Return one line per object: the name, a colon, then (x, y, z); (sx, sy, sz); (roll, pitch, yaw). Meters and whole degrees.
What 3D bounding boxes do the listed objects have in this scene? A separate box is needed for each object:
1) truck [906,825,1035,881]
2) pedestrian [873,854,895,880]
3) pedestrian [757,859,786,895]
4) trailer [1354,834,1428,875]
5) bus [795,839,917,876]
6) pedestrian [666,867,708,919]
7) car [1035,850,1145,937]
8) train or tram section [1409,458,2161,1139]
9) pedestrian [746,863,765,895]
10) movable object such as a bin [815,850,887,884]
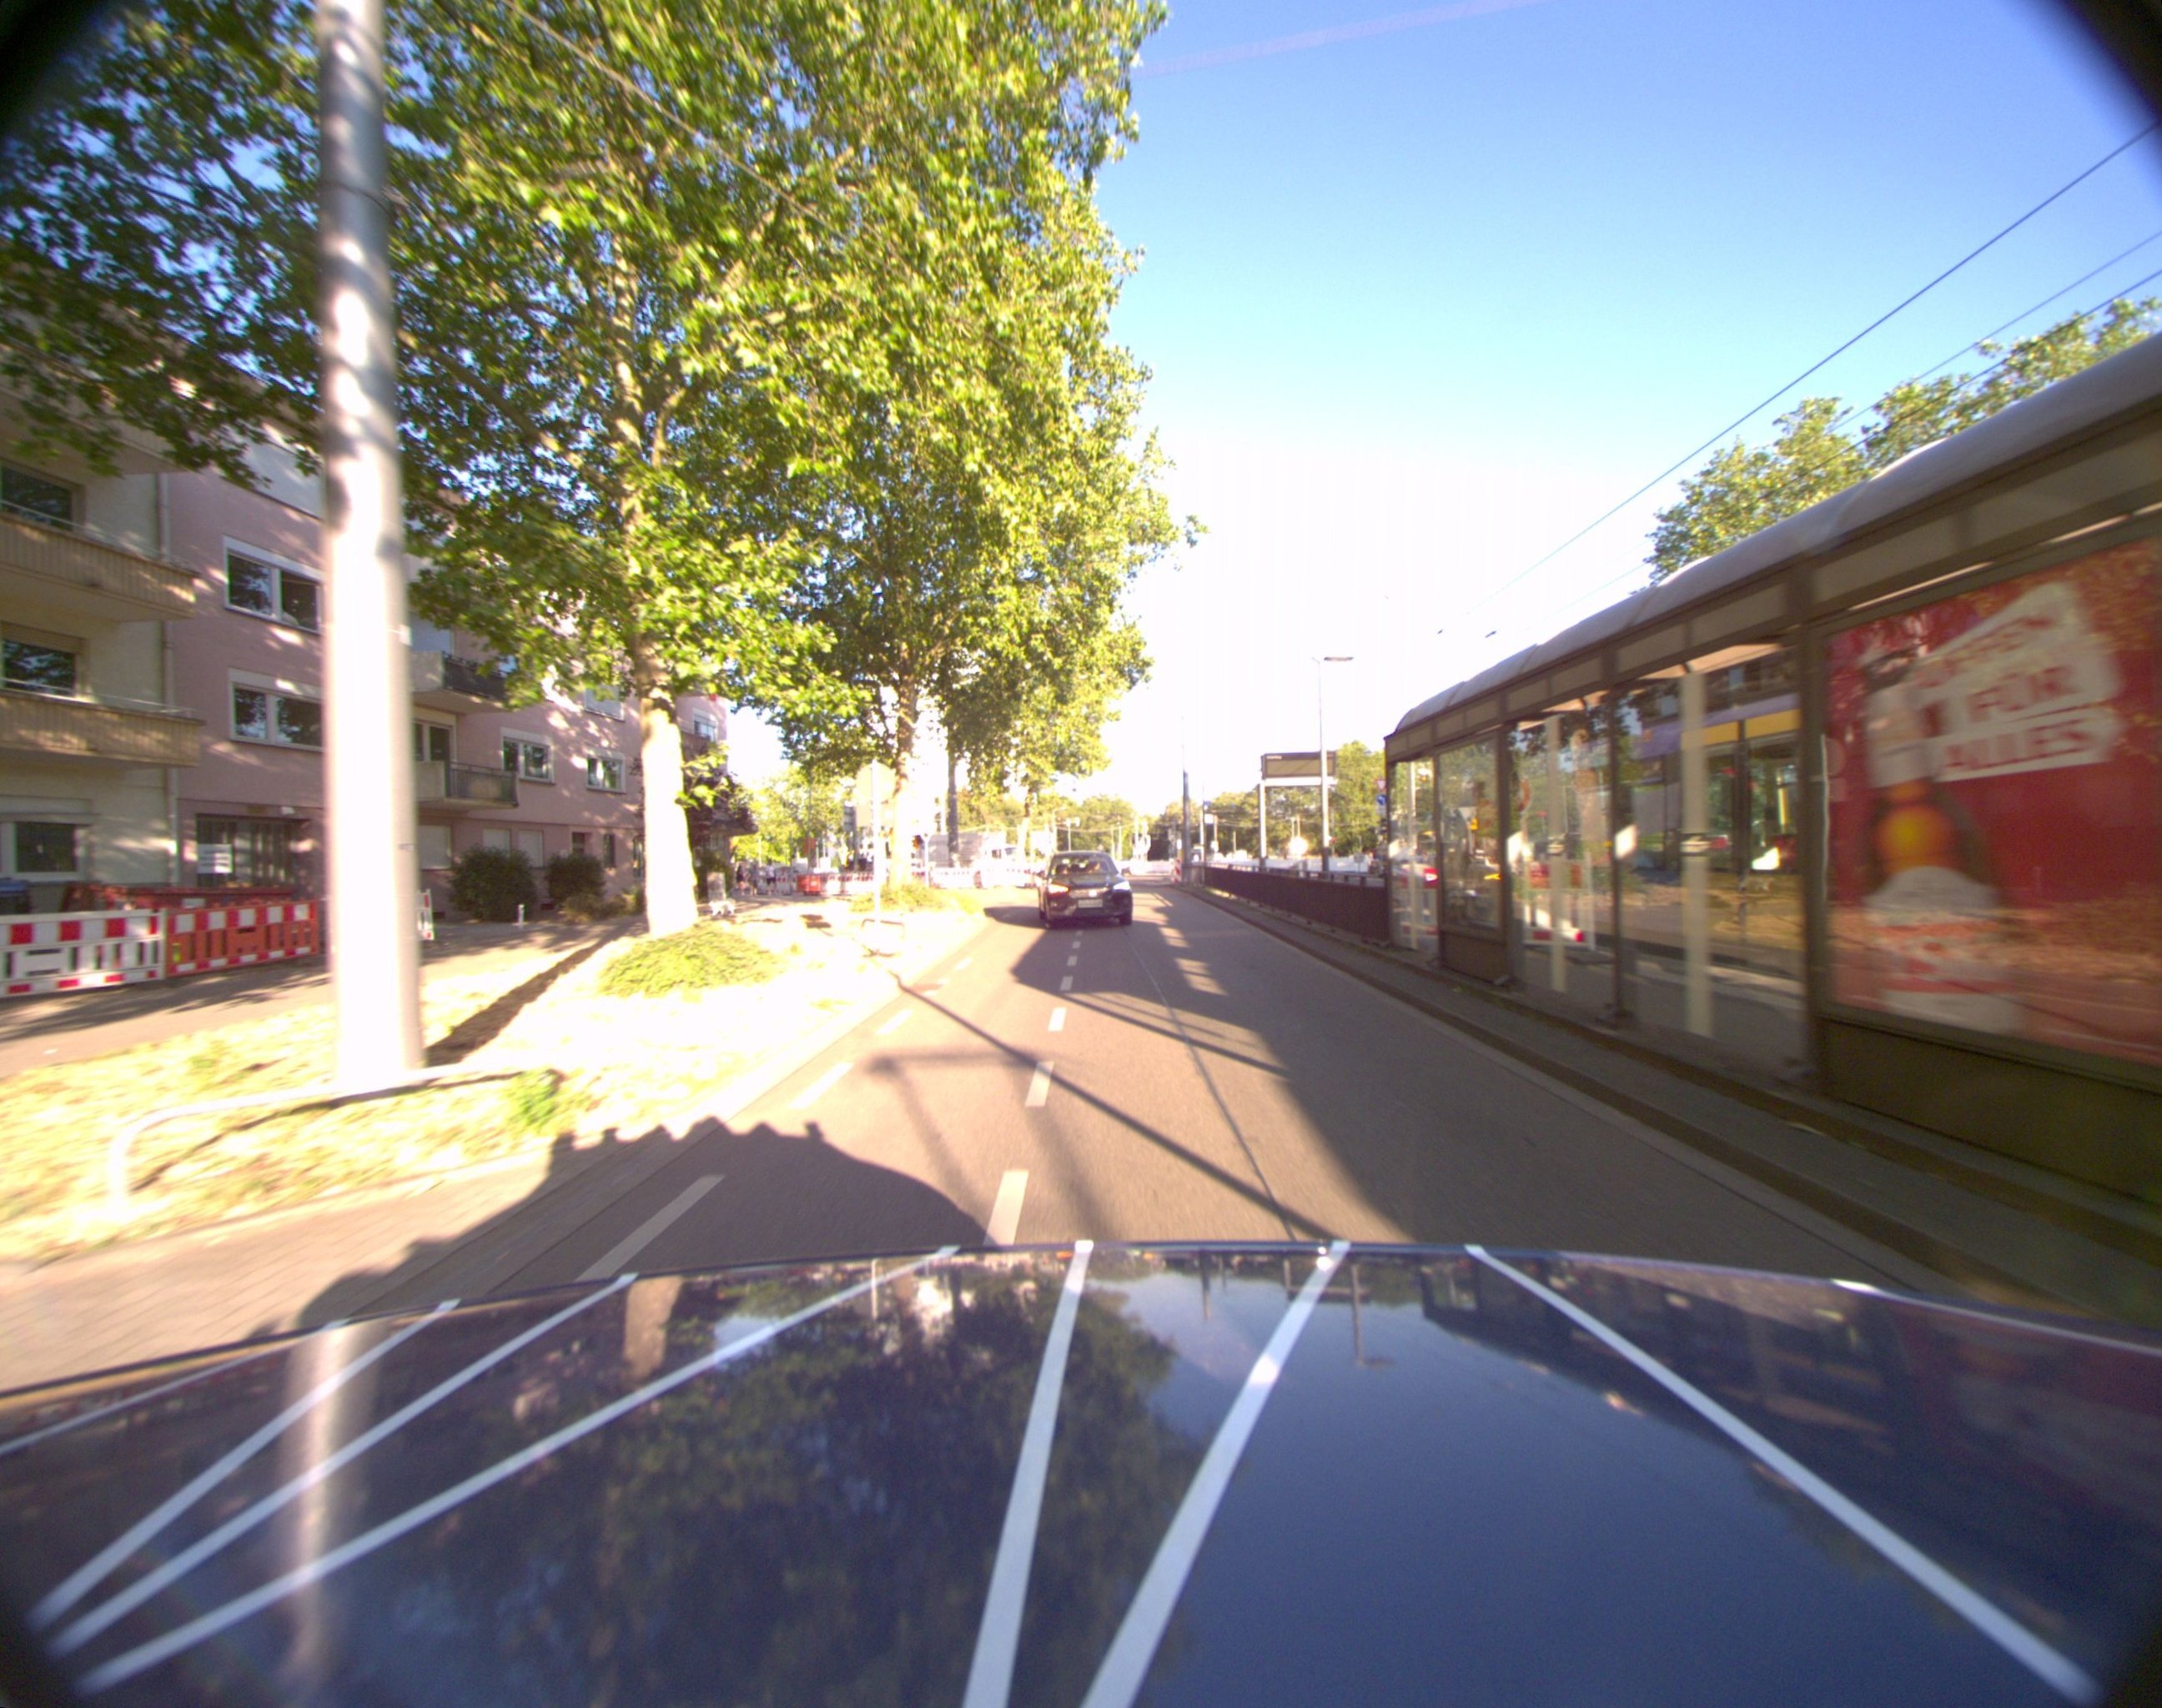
truck: (-7.674, -0.006, 52.063); (8.959, 3.521, 2.826); (-2, 0, 32)
pedestrian: (-13.838, 0.927, 53.290); (1.067, 1.788, 0.977); (-2, 1, 23)
pedestrian: (-16.741, 1.227, 41.116); (1.097, 1.857, 0.842); (-4, -3, 27)
trailer: (17.067, 0.051, 42.059); (1.999, 2.103, 4.345); (-2, 0, -5)
bus: (-24.282, 0.371, 82.344); (12.290, 3.701, 3.088); (-1, 0, 2)
pedestrian: (-11.567, 1.125, 22.338); (0.792, 1.465, 0.816); (-2, 0, -2)
car: (0.063, 0.798, 17.300); (1.999, 1.637, 4.202); (-3, 0, -5)
train or tram section: (7.169, -0.325, 7.237); (2.856, 3.512, 13.398); (-1, 0, 3)
pedestrian: (-17.252, 1.328, 40.243); (0.677, 1.697, 0.586); (-4, -2, 32)
movable object such as a bin: (-16.670, 0.937, 54.908); (5.193, 2.244, 2.003); (-2, 2, 33)
